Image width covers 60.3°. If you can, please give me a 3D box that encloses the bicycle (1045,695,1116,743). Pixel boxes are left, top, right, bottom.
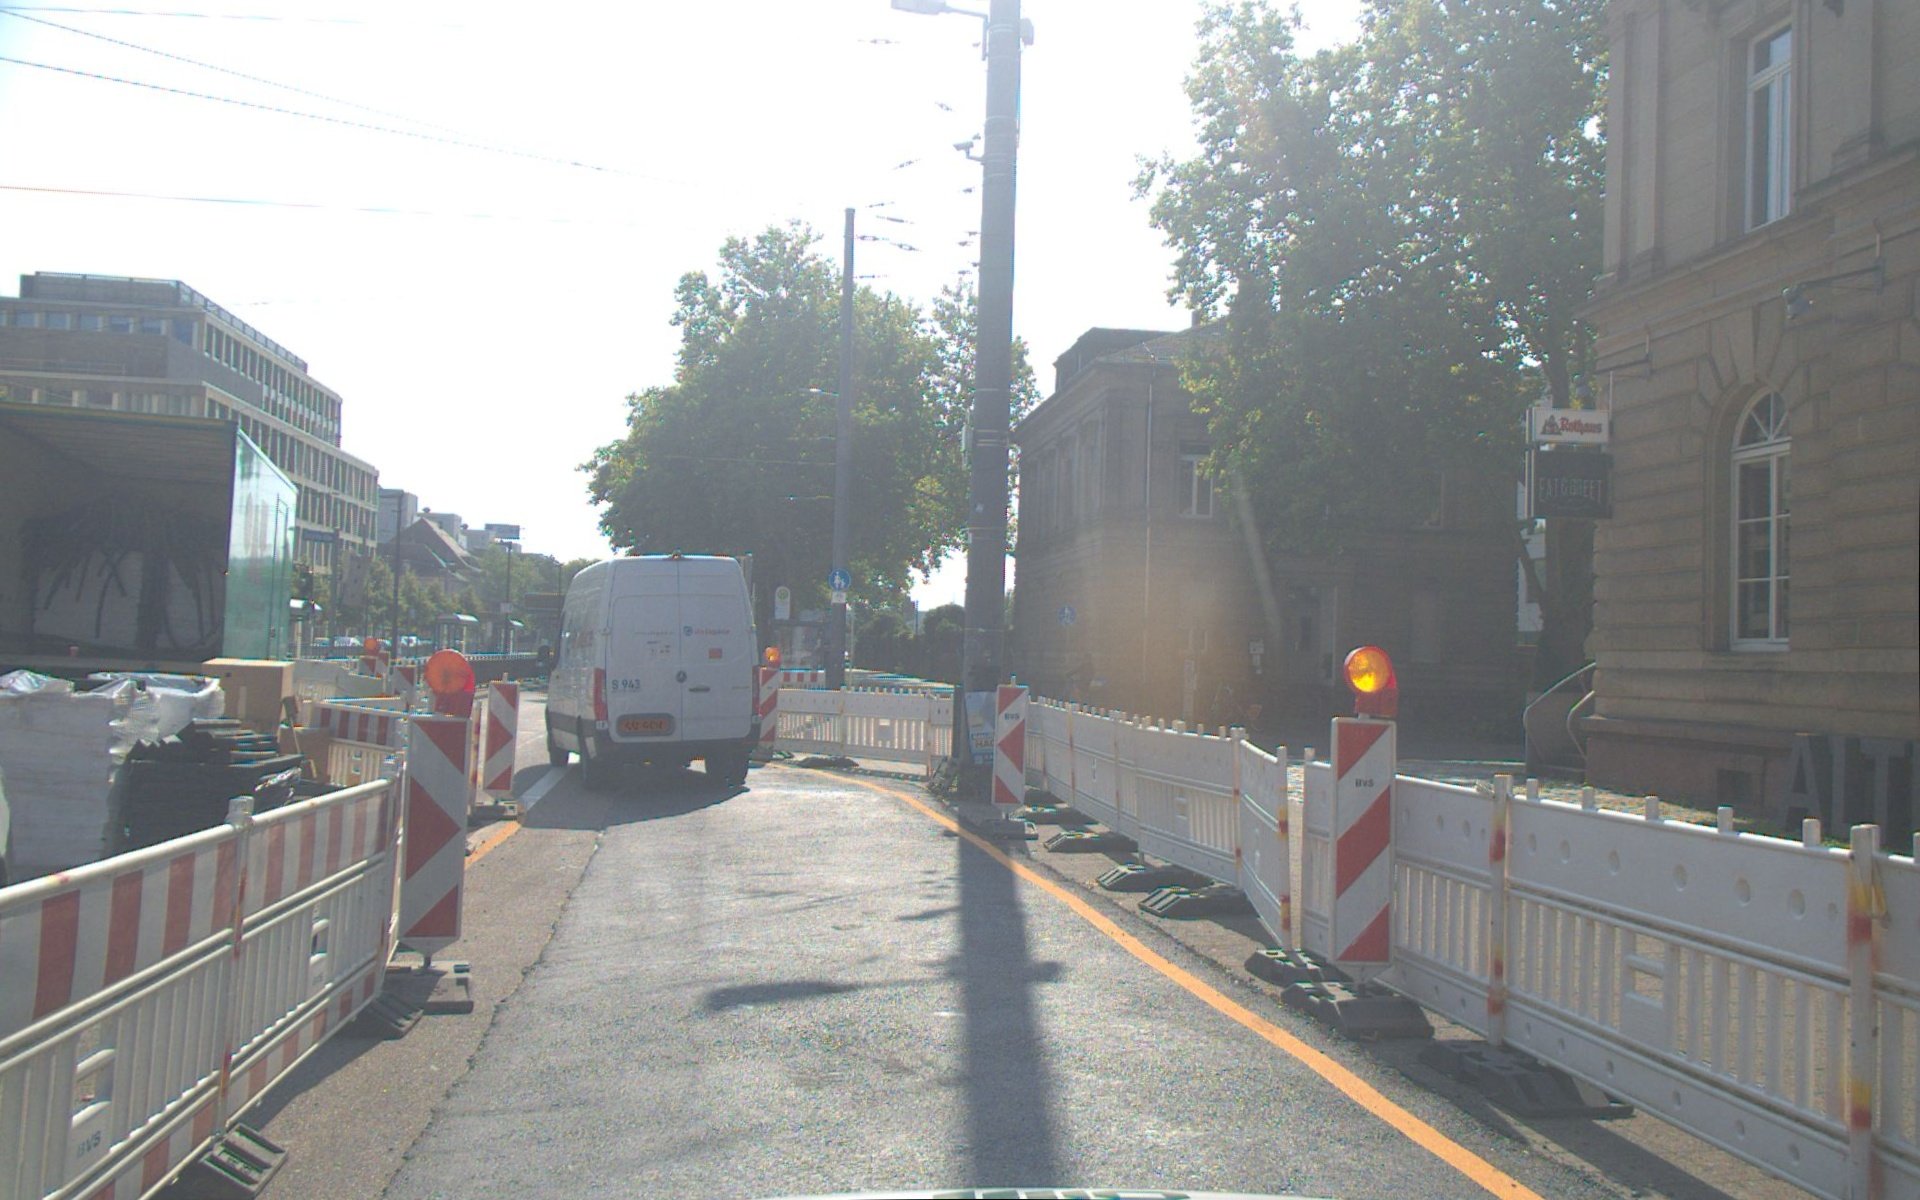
[{"bbox_3d":[3.040,3.000,41.790,1.823,1.108,0.490,0,-3,41],"label":"bicycle"}]

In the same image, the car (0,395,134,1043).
[{"bbox_3d":[-4.343,0.325,3.859,2.167,2.467,7.182,2,-3,-9],"label":"car"}]

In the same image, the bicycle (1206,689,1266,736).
[{"bbox_3d":[6.891,2.813,41.380,0.485,1.017,1.803,3,-1,-26],"label":"bicycle"}]

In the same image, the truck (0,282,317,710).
[{"bbox_3d":[-9.654,-0.903,20.252,2.751,3.981,8.369,5,-3,-19],"label":"truck"}]

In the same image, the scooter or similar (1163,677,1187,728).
[{"bbox_3d":[5.465,2.588,42.048,0.417,1.250,1.173,2,-2,-1],"label":"scooter or similar"}]

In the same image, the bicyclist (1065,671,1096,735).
[{"bbox_3d":[3.044,2.602,41.812,0.585,1.567,0.468,0,-3,40],"label":"bicyclist"}]

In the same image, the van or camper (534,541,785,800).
[{"bbox_3d":[-3.905,0.873,20.678,2.084,2.729,5.218,5,-3,-20],"label":"van or camper"}]
